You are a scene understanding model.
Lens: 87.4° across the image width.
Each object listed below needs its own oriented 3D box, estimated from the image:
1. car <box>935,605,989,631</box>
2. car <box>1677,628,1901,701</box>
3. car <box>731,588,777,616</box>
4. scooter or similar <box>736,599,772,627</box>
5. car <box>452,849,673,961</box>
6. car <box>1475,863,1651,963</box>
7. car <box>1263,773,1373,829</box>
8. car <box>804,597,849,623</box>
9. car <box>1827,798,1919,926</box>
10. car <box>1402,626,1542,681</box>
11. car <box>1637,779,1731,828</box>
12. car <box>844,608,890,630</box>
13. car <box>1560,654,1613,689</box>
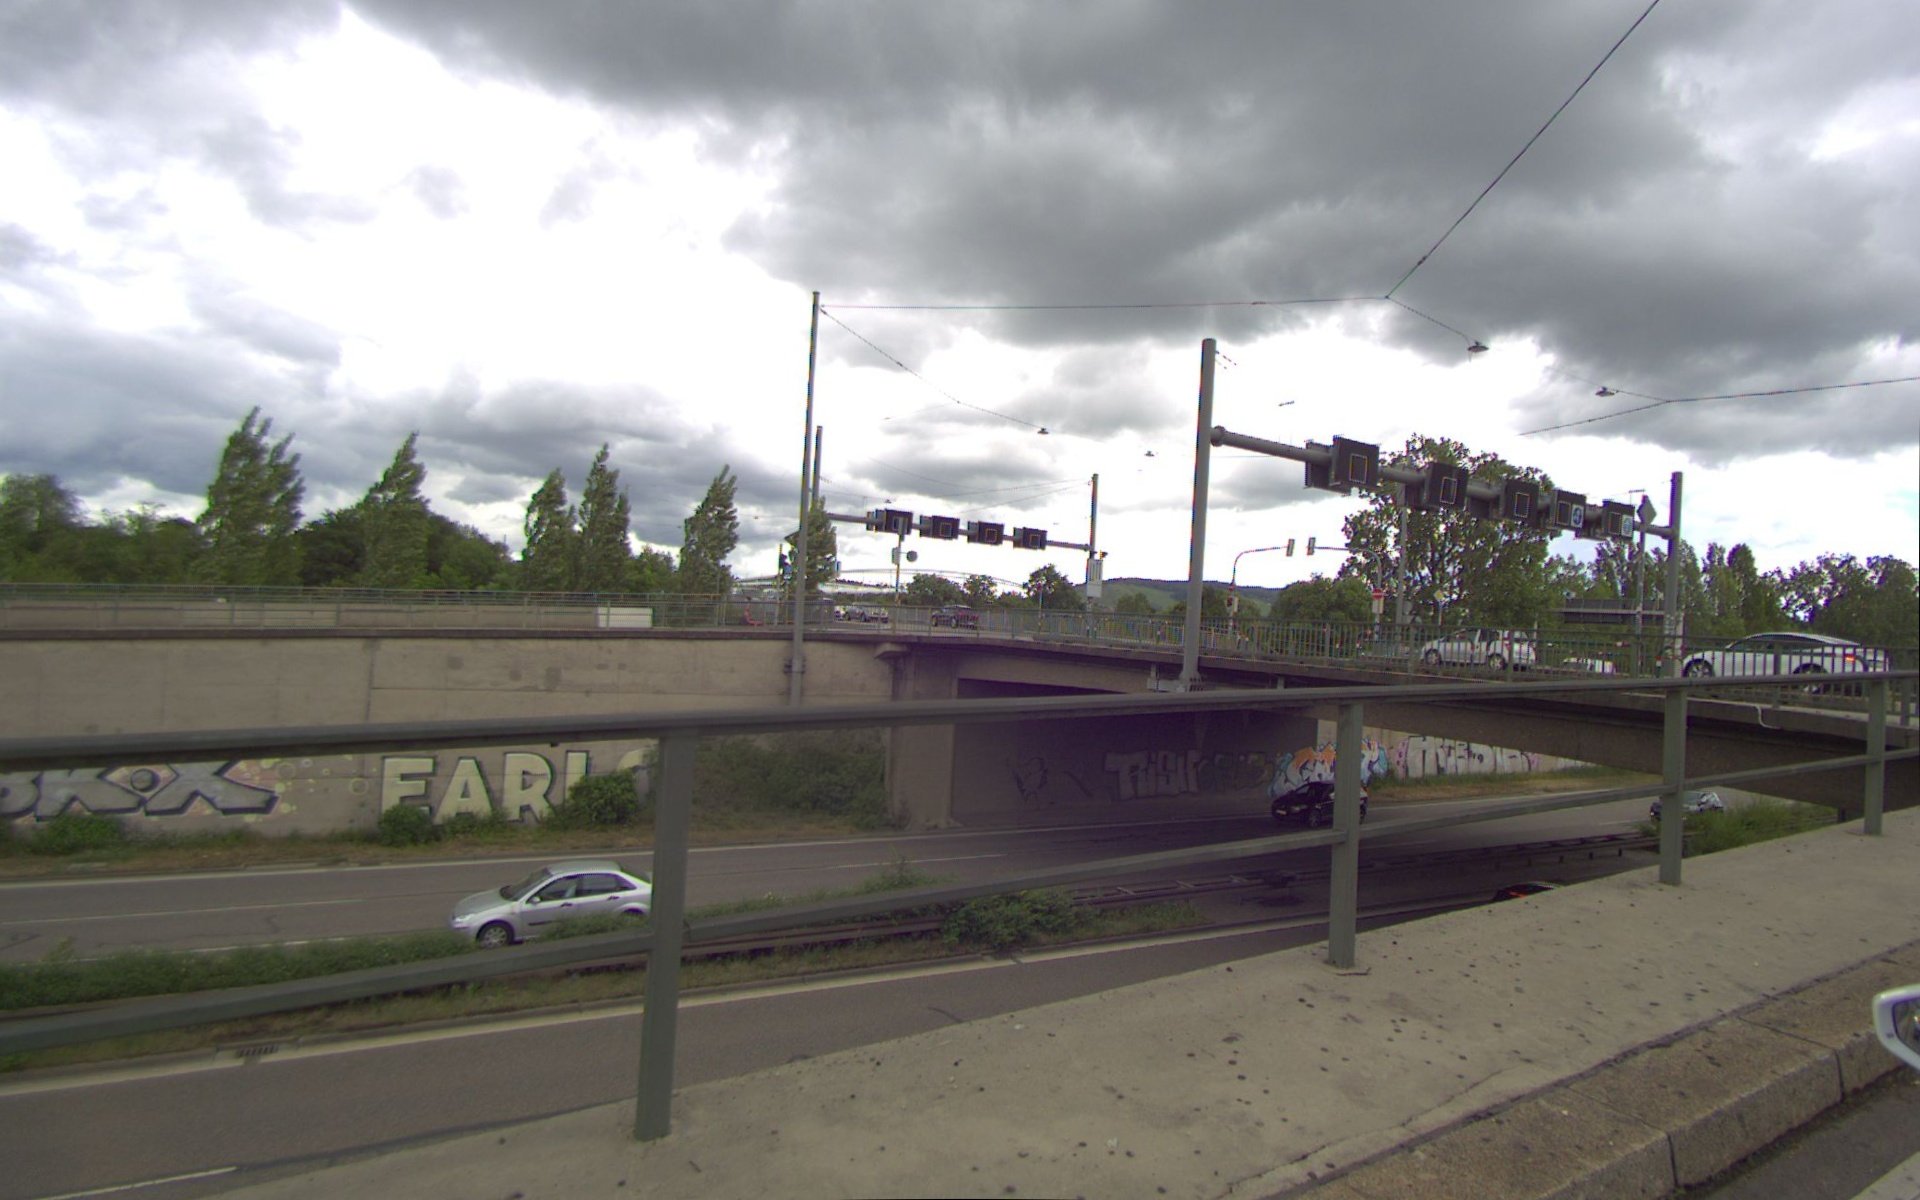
[{"bbox_3d":[0.097,1.212,68.138,1.915,1.740,3.966,1,0,-31],"label":"car"},{"bbox_3d":[22.354,1.671,27.335,1.906,1.740,4.389,1,0,-17],"label":"car"},{"bbox_3d":[-15.307,0.139,74.528,1.711,2.040,4.443,1,0,-35],"label":"car"},{"bbox_3d":[-8.881,0.563,43.309,1.402,1.108,0.539,3,-2,-34],"label":"scooter or similar"},{"bbox_3d":[-8.305,6.301,21.087,4.040,1.548,1.720,5,-2,-30],"label":"car"},{"bbox_3d":[14.613,7.479,24.292,4.168,1.590,1.742,4,-2,-28],"label":"car"},{"bbox_3d":[14.892,8.305,41.731,4.360,1.865,1.922,4,-3,-30],"label":"car"},{"bbox_3d":[-8.660,0.635,65.057,1.560,1.587,3.715,1,0,-31],"label":"car"},{"bbox_3d":[32.057,8.610,33.696,7.577,3.282,2.348,5,-2,-32],"label":"car"},{"bbox_3d":[17.827,1.806,35.127,1.915,1.740,3.968,1,0,-30],"label":"car"},{"bbox_3d":[33.778,9.444,46.843,4.374,1.865,1.984,5,-4,-30],"label":"car"},{"bbox_3d":[-6.165,1.225,66.426,1.537,1.372,3.860,1,0,-31],"label":"car"},{"bbox_3d":[43.833,4.965,70.260,3.626,2.245,1.843,1,0,-35],"label":"car"}]
